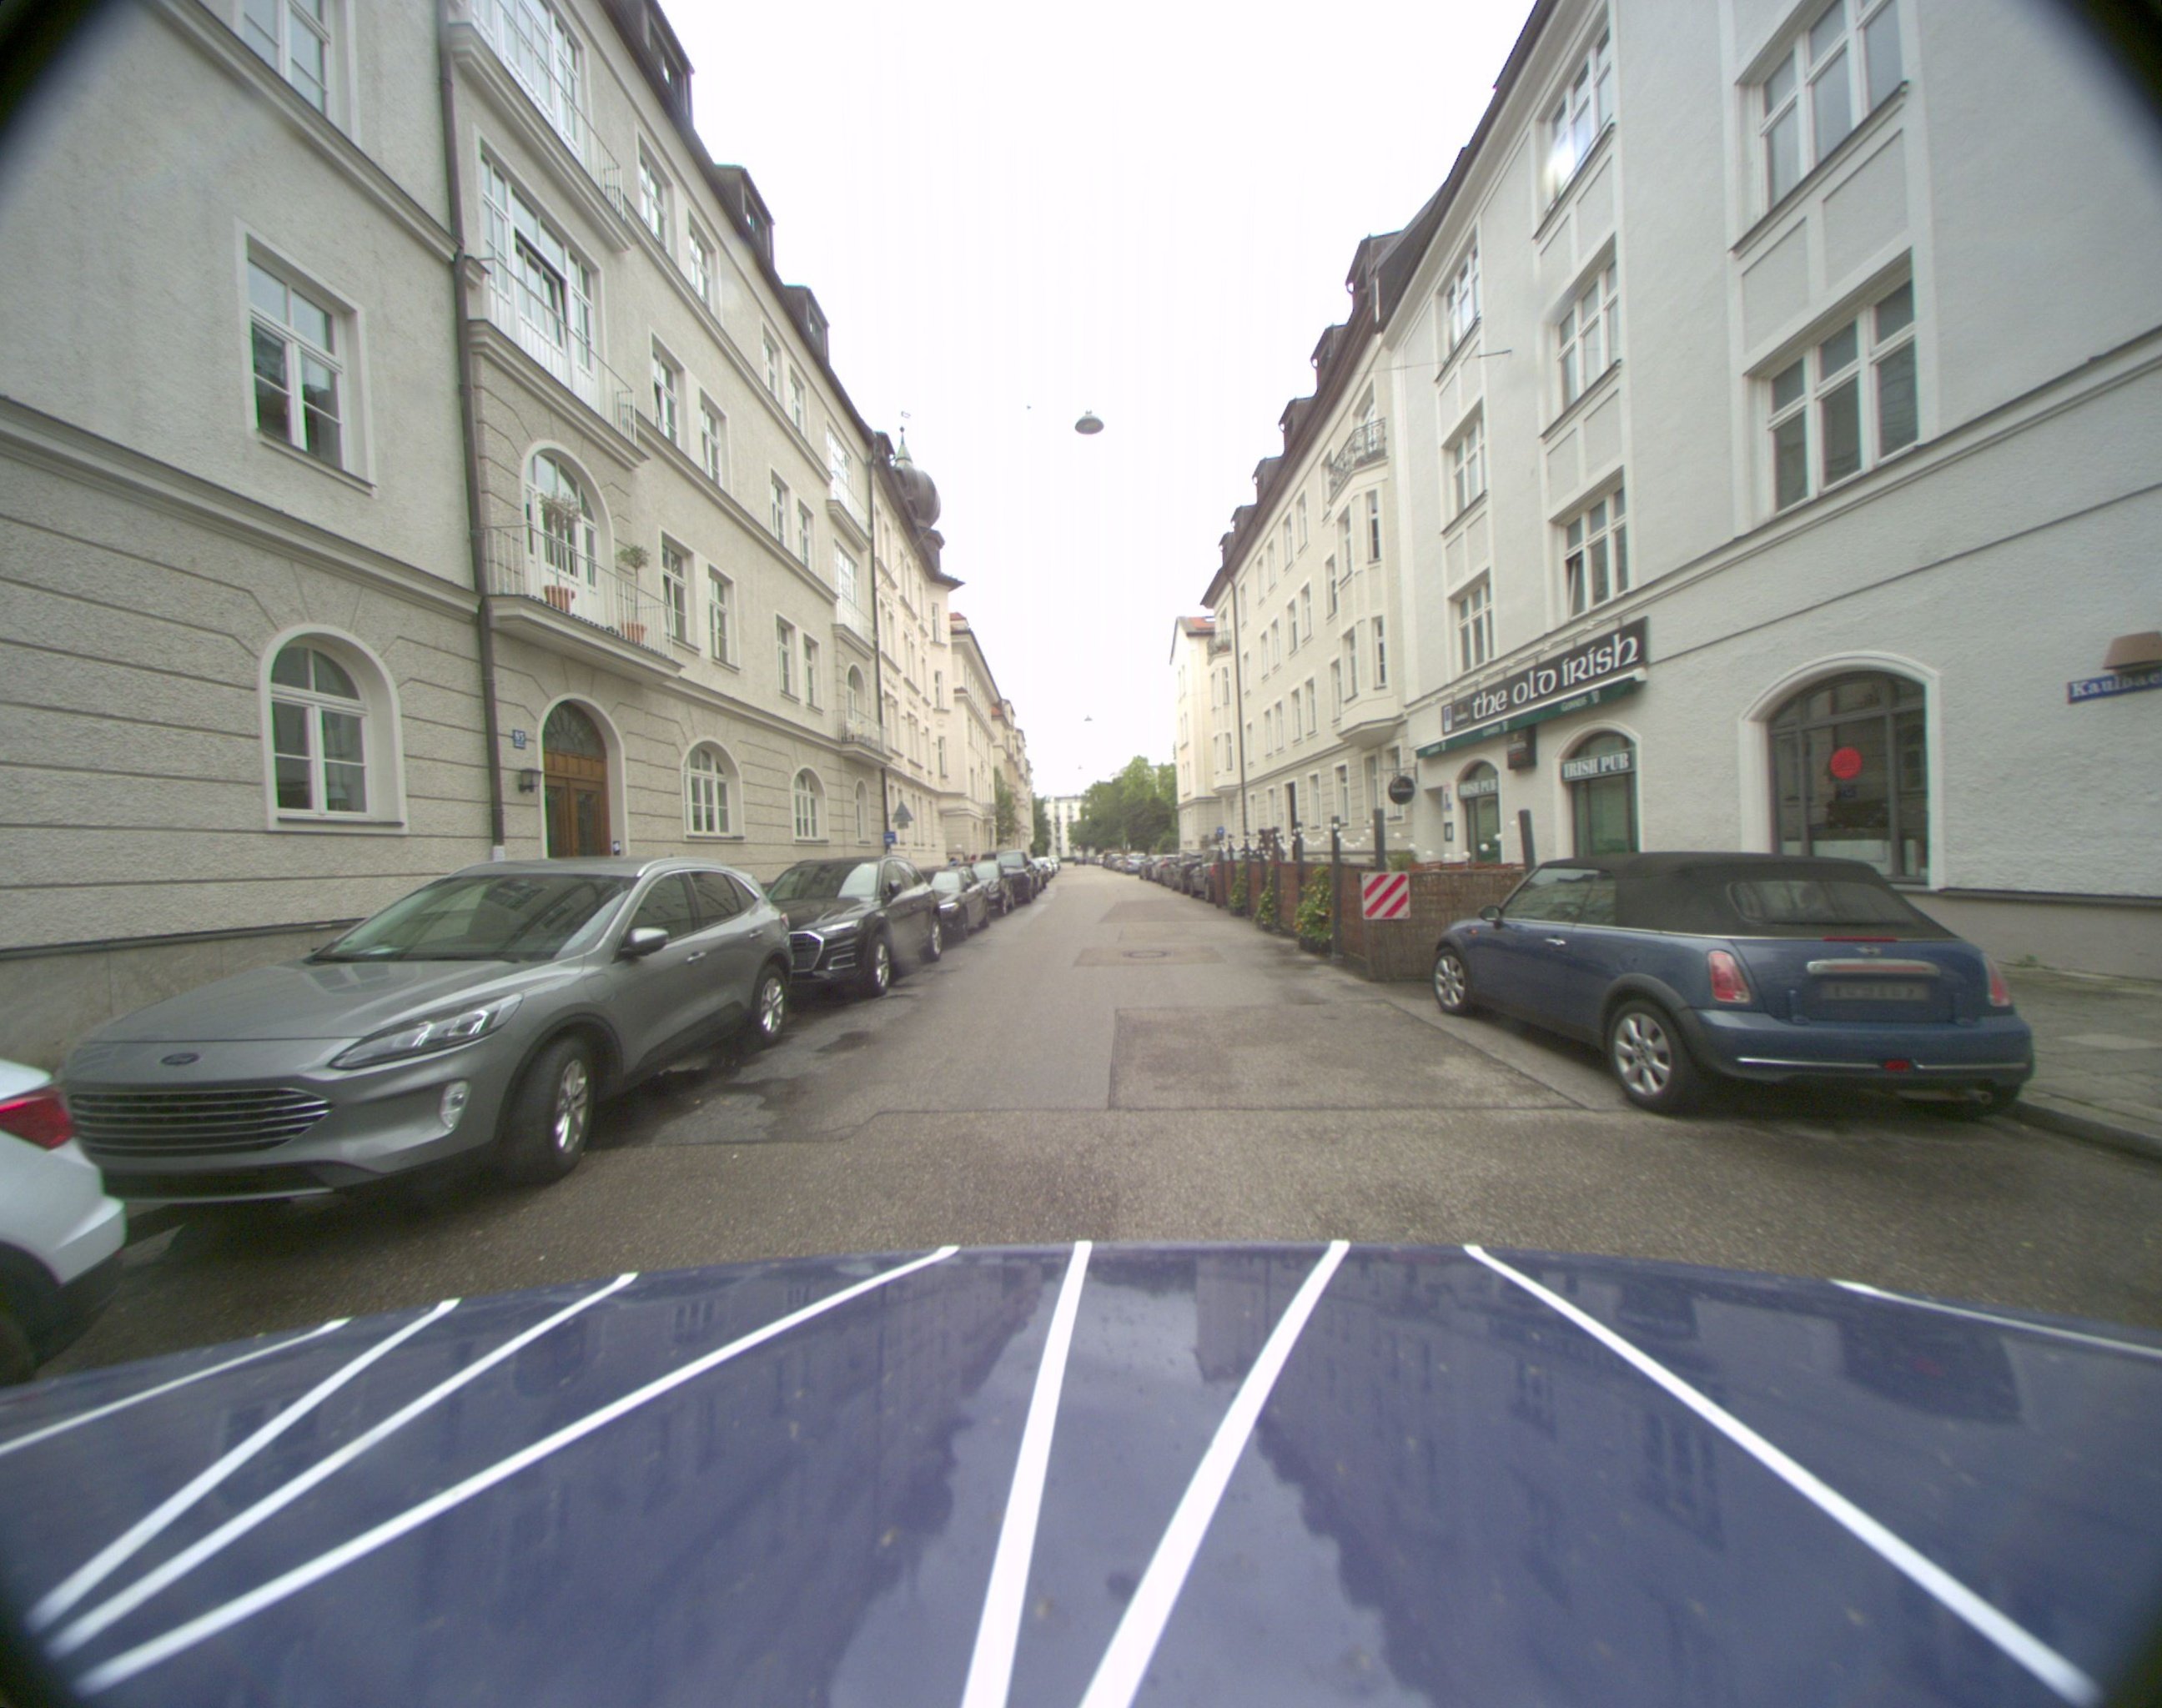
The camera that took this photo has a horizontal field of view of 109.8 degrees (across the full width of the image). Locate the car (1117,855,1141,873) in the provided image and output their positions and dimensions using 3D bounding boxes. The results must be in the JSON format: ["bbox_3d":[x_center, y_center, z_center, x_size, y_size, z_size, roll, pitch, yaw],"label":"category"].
[{"bbox_3d":[4.344,0.877,68.823,1.802,1.426,4.079,-3,0,-1],"label":"car"}]

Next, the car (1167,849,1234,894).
[{"bbox_3d":[4.395,0.613,28.539,1.746,1.478,4.180,-3,0,-1],"label":"car"}]

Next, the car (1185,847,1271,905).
[{"bbox_3d":[4.482,0.631,23.729,1.750,1.663,4.275,0,0,-2],"label":"car"}]

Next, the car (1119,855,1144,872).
[{"bbox_3d":[4.250,0.793,64.547,1.649,1.395,3.999,0,0,-3],"label":"car"}]

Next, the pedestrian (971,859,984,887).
[{"bbox_3d":[-6.148,1.130,45.044,0.684,1.669,0.812,0,0,-1],"label":"pedestrian"}]

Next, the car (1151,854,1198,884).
[{"bbox_3d":[4.700,0.701,38.825,1.799,1.411,4.510,0,0,0],"label":"car"}]

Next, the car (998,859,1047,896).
[{"bbox_3d":[-2.481,0.976,33.003,1.668,1.387,3.582,-4,0,2],"label":"car"}]

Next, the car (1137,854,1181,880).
[{"bbox_3d":[4.531,0.714,44.619,1.855,1.359,4.701,-3,0,-3],"label":"car"}]

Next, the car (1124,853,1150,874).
[{"bbox_3d":[4.242,0.694,57.858,1.701,1.571,4.061,0,0,0],"label":"car"}]

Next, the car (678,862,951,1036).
[{"bbox_3d":[-3.119,1.006,9.997,1.781,1.626,4.375,-4,0,3],"label":"car"}]

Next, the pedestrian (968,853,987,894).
[{"bbox_3d":[-4.439,0.844,32.624,0.705,1.718,0.703,-2,1,-3],"label":"pedestrian"}]

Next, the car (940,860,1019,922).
[{"bbox_3d":[-2.792,0.974,21.654,1.659,1.516,3.637,-3,0,0],"label":"car"}]

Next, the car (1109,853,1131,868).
[{"bbox_3d":[4.110,0.662,80.630,1.773,1.412,3.998,-2,1,-3],"label":"car"}]

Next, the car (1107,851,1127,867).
[{"bbox_3d":[4.054,0.556,86.345,1.811,1.638,4.484,-4,0,-1],"label":"car"}]

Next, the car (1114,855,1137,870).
[{"bbox_3d":[4.372,0.829,75.109,1.740,1.357,4.191,-1,0,-3],"label":"car"}]

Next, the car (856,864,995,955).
[{"bbox_3d":[-2.984,1.014,15.499,1.710,1.462,4.202,-3,0,3],"label":"car"}]

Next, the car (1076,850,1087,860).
[{"bbox_3d":[0.046,0.153,129.225,1.729,1.525,4.083,-3,2,-2],"label":"car"}]

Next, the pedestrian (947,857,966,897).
[{"bbox_3d":[-5.236,0.953,31.935,0.681,1.664,0.654,0,0,-3],"label":"pedestrian"}]

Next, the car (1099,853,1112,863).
[{"bbox_3d":[3.817,0.624,118.925,1.705,1.483,3.955,-1,0,-2],"label":"car"}]

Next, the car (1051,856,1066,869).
[{"bbox_3d":[-2.837,1.054,95.342,1.646,1.409,4.000,-4,0,0],"label":"car"}]

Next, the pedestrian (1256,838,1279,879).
[{"bbox_3d":[8.003,0.201,32.618,0.663,1.697,0.701,-3,1,33],"label":"pedestrian"}]

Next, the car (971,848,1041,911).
[{"bbox_3d":[-2.537,0.806,26.888,1.916,1.874,4.713,-5,0,0],"label":"car"}]

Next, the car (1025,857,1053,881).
[{"bbox_3d":[-2.697,0.944,49.934,1.616,1.387,3.999,-4,0,-1],"label":"car"}]

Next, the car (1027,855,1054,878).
[{"bbox_3d":[-2.913,0.891,54.582,1.713,1.492,3.999,-3,0,-3],"label":"car"}]

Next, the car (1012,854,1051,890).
[{"bbox_3d":[-2.455,0.878,38.502,1.712,1.578,3.999,-4,0,-2],"label":"car"}]

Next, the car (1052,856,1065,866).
[{"bbox_3d":[-3.464,1.029,116.417,1.715,1.462,4.084,-4,0,-3],"label":"car"}]

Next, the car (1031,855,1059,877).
[{"bbox_3d":[-2.799,0.943,59.619,1.900,1.626,4.392,-3,-1,0],"label":"car"}]

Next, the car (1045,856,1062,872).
[{"bbox_3d":[-2.933,1.062,80.797,1.667,1.498,4.064,-3,-1,-3],"label":"car"}]

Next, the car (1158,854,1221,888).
[{"bbox_3d":[4.713,0.700,33.621,1.815,1.377,4.442,-1,0,-4],"label":"car"}]

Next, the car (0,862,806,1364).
[{"bbox_3d":[-3.506,0.965,4.950,1.794,1.703,4.425,-2,0,-1],"label":"car"}]

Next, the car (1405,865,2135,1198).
[{"bbox_3d":[3.906,0.829,5.390,1.711,1.382,4.001,-1,0,3],"label":"car"}]
